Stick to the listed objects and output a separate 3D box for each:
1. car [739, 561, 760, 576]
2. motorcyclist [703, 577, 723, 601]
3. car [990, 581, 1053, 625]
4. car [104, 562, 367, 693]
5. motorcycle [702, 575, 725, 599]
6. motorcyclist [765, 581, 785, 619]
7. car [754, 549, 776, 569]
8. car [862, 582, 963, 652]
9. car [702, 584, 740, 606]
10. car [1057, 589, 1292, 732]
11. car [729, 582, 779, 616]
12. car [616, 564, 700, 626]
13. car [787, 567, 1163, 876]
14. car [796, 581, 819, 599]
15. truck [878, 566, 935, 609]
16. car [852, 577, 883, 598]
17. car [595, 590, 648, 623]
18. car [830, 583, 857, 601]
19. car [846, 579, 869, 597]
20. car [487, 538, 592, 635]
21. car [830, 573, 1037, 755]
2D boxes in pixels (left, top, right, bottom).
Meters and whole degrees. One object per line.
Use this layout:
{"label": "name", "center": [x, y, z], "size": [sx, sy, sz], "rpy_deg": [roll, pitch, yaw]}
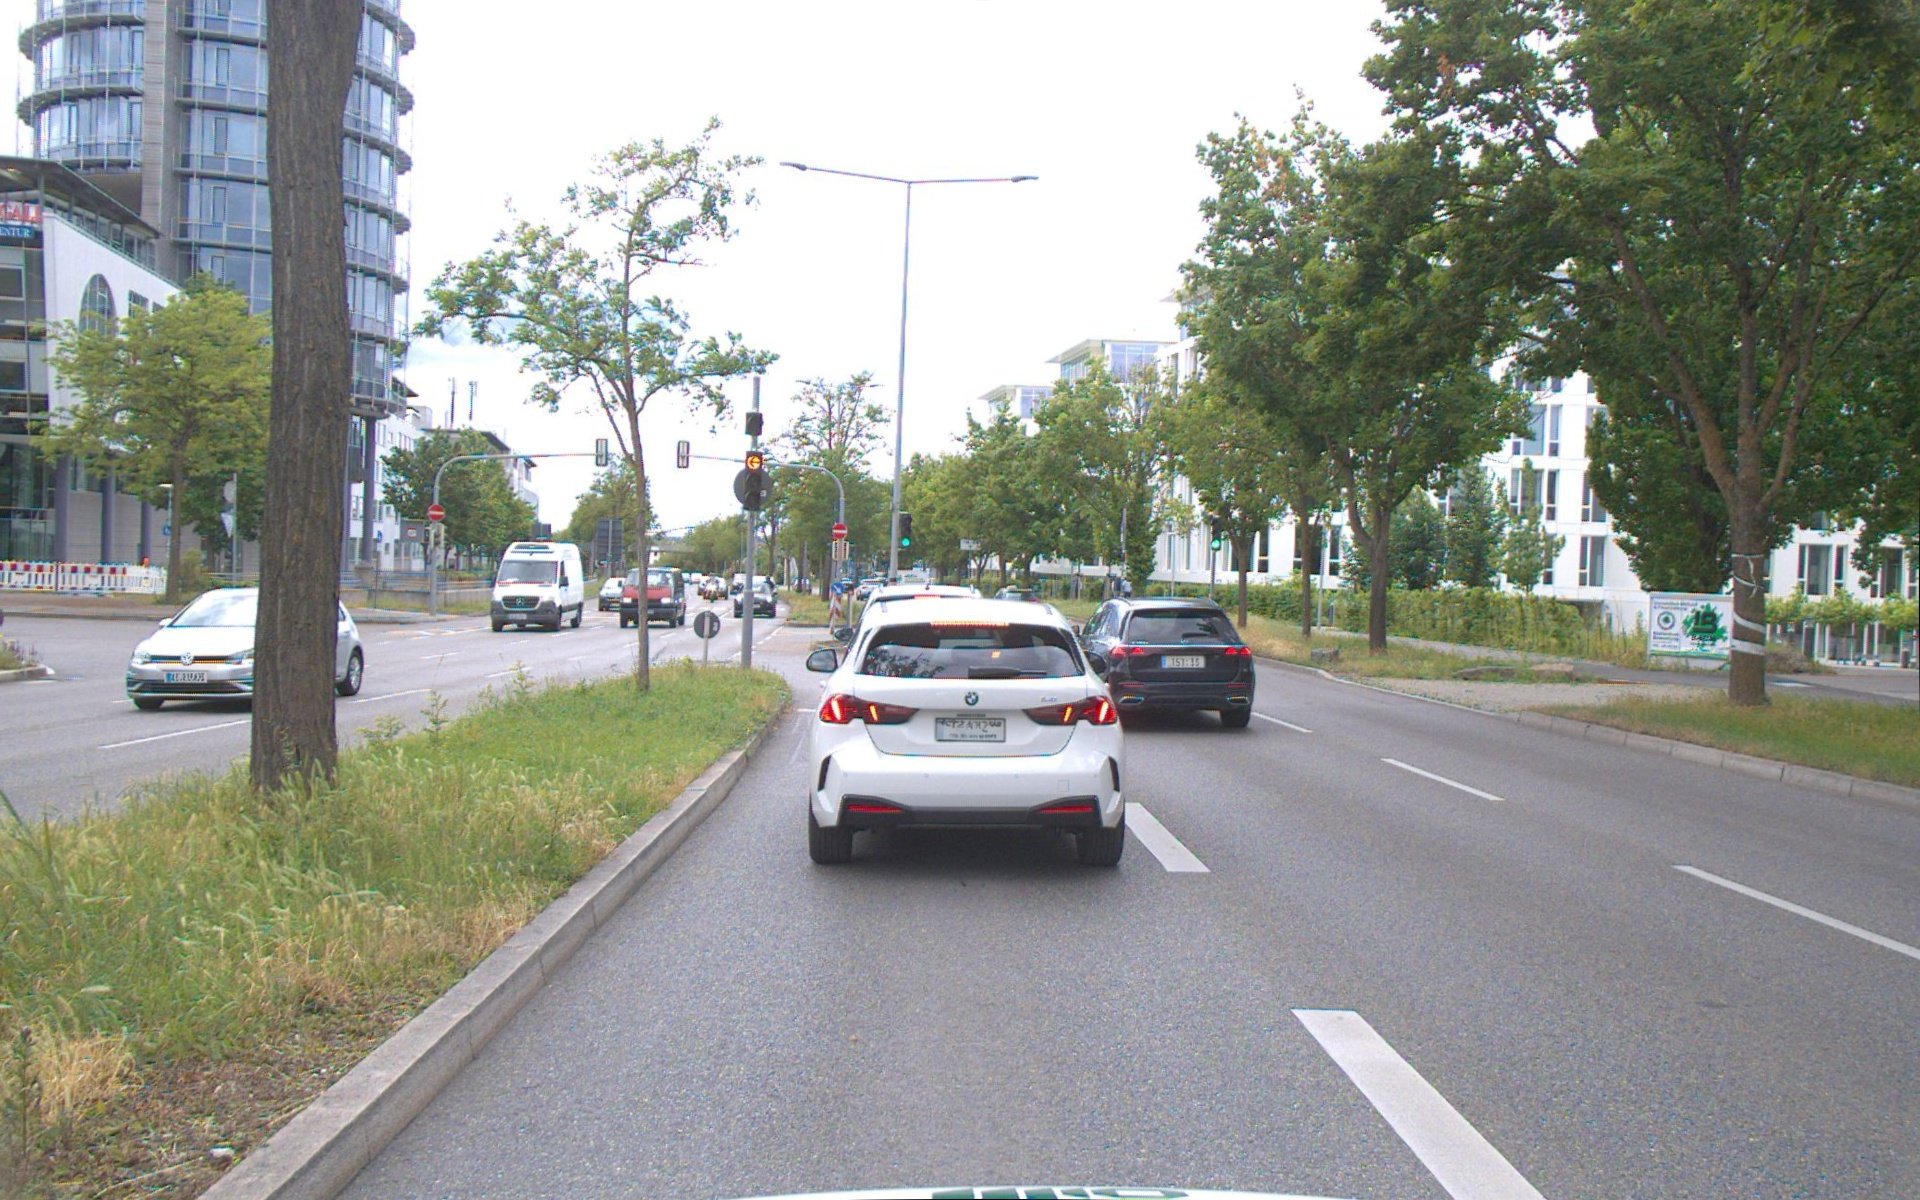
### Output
{"label": "car", "center": [-24.572, -3.653, 193.240], "size": [1.953, 1.646, 3.999], "rpy_deg": [3, 0, -1]}
{"label": "motorcyclist", "center": [-14.896, -0.655, 99.802], "size": [0.891, 1.416, 1.673], "rpy_deg": [1, 0, -1]}
{"label": "car", "center": [2.374, 0.095, 65.193], "size": [1.955, 1.624, 3.996], "rpy_deg": [2, 0, -5]}
{"label": "car", "center": [-9.010, 0.290, 20.949], "size": [1.718, 1.469, 4.132], "rpy_deg": [-1, 1, -4]}
{"label": "motorcycle", "center": [-14.903, -0.767, 100.121], "size": [0.871, 1.422, 3.999], "rpy_deg": [1, 0, -1]}
{"label": "motorcyclist", "center": [-9.346, -0.002, 83.593], "size": [0.831, 1.869, 1.259], "rpy_deg": [1, 0, -1]}
{"label": "car", "center": [-20.767, -4.350, 176.003], "size": [1.954, 2.045, 4.321], "rpy_deg": [3, 0, -4]}
{"label": "car", "center": [-1.074, 0.395, 39.470], "size": [1.951, 1.534, 4.002], "rpy_deg": [2, 0, 4]}
{"label": "car", "center": [-15.816, -0.346, 109.468], "size": [1.953, 1.378, 3.999], "rpy_deg": [1, 0, -1]}
{"label": "car", "center": [2.462, 0.640, 20.305], "size": [2.012, 1.512, 4.970], "rpy_deg": [1, 0, -3]}
{"label": "car", "center": [-8.666, -0.063, 69.835], "size": [1.718, 1.395, 3.779], "rpy_deg": [1, 0, -1]}
{"label": "car", "center": [-10.001, -0.176, 55.110], "size": [1.896, 1.951, 4.972], "rpy_deg": [1, 0, -1]}
{"label": "car", "center": [0.122, 0.607, 10.190], "size": [1.824, 1.474, 4.001], "rpy_deg": [2, 0, 1]}
{"label": "car", "center": [-13.892, -0.910, 150.754], "size": [1.954, 1.516, 3.997], "rpy_deg": [2, 0, -4]}
{"label": "truck", "center": [-3.466, -0.765, 105.078], "size": [2.807, 2.563, 6.274], "rpy_deg": [2, 0, -9]}
{"label": "car", "center": [-6.869, -0.944, 122.976], "size": [1.956, 1.534, 3.993], "rpy_deg": [1, 0, -8]}
{"label": "car", "center": [-15.448, 0.276, 75.632], "size": [1.673, 1.443, 3.802], "rpy_deg": [1, 0, -1]}
{"label": "car", "center": [-10.220, -0.686, 144.572], "size": [1.957, 1.534, 3.991], "rpy_deg": [1, 0, -10]}
{"label": "car", "center": [-9.195, -1.115, 148.023], "size": [1.954, 1.516, 3.997], "rpy_deg": [2, 0, -4]}
{"label": "car", "center": [-12.820, -0.420, 50.800], "size": [1.954, 2.679, 5.871], "rpy_deg": [3, 0, -4]}
{"label": "car", "center": [-0.259, 0.623, 17.999], "size": [1.953, 1.701, 4.000], "rpy_deg": [2, 0, 0]}
